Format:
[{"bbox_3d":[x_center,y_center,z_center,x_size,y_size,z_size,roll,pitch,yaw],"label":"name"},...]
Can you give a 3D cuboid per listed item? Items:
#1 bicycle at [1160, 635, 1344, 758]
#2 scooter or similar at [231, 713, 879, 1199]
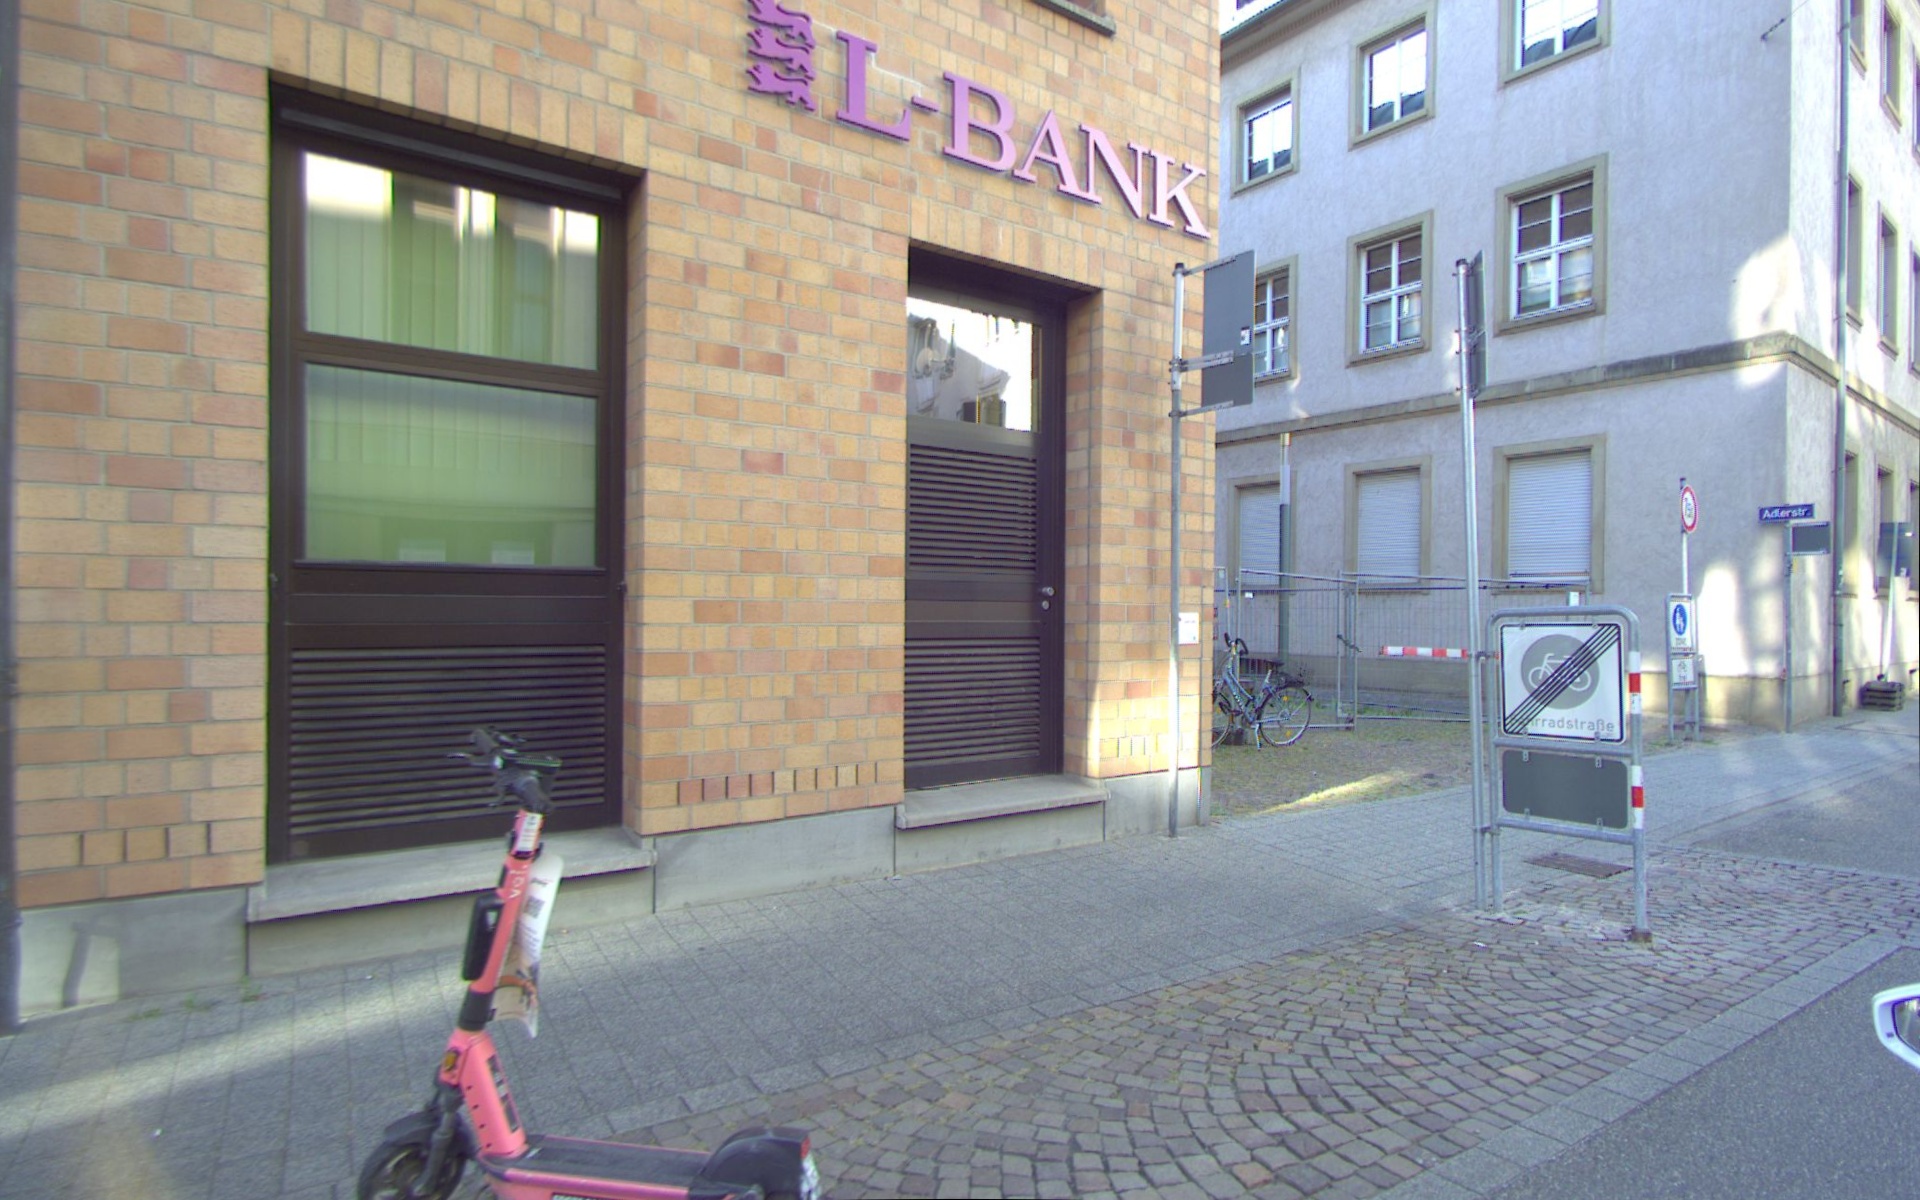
[{"bbox_3d":[3.145,1.008,10.871,1.745,1.217,0.808,1,1,-17],"label":"bicycle"},{"bbox_3d":[-0.877,0.934,2.493,1.331,1.233,0.700,0,-1,-4],"label":"scooter or similar"}]
